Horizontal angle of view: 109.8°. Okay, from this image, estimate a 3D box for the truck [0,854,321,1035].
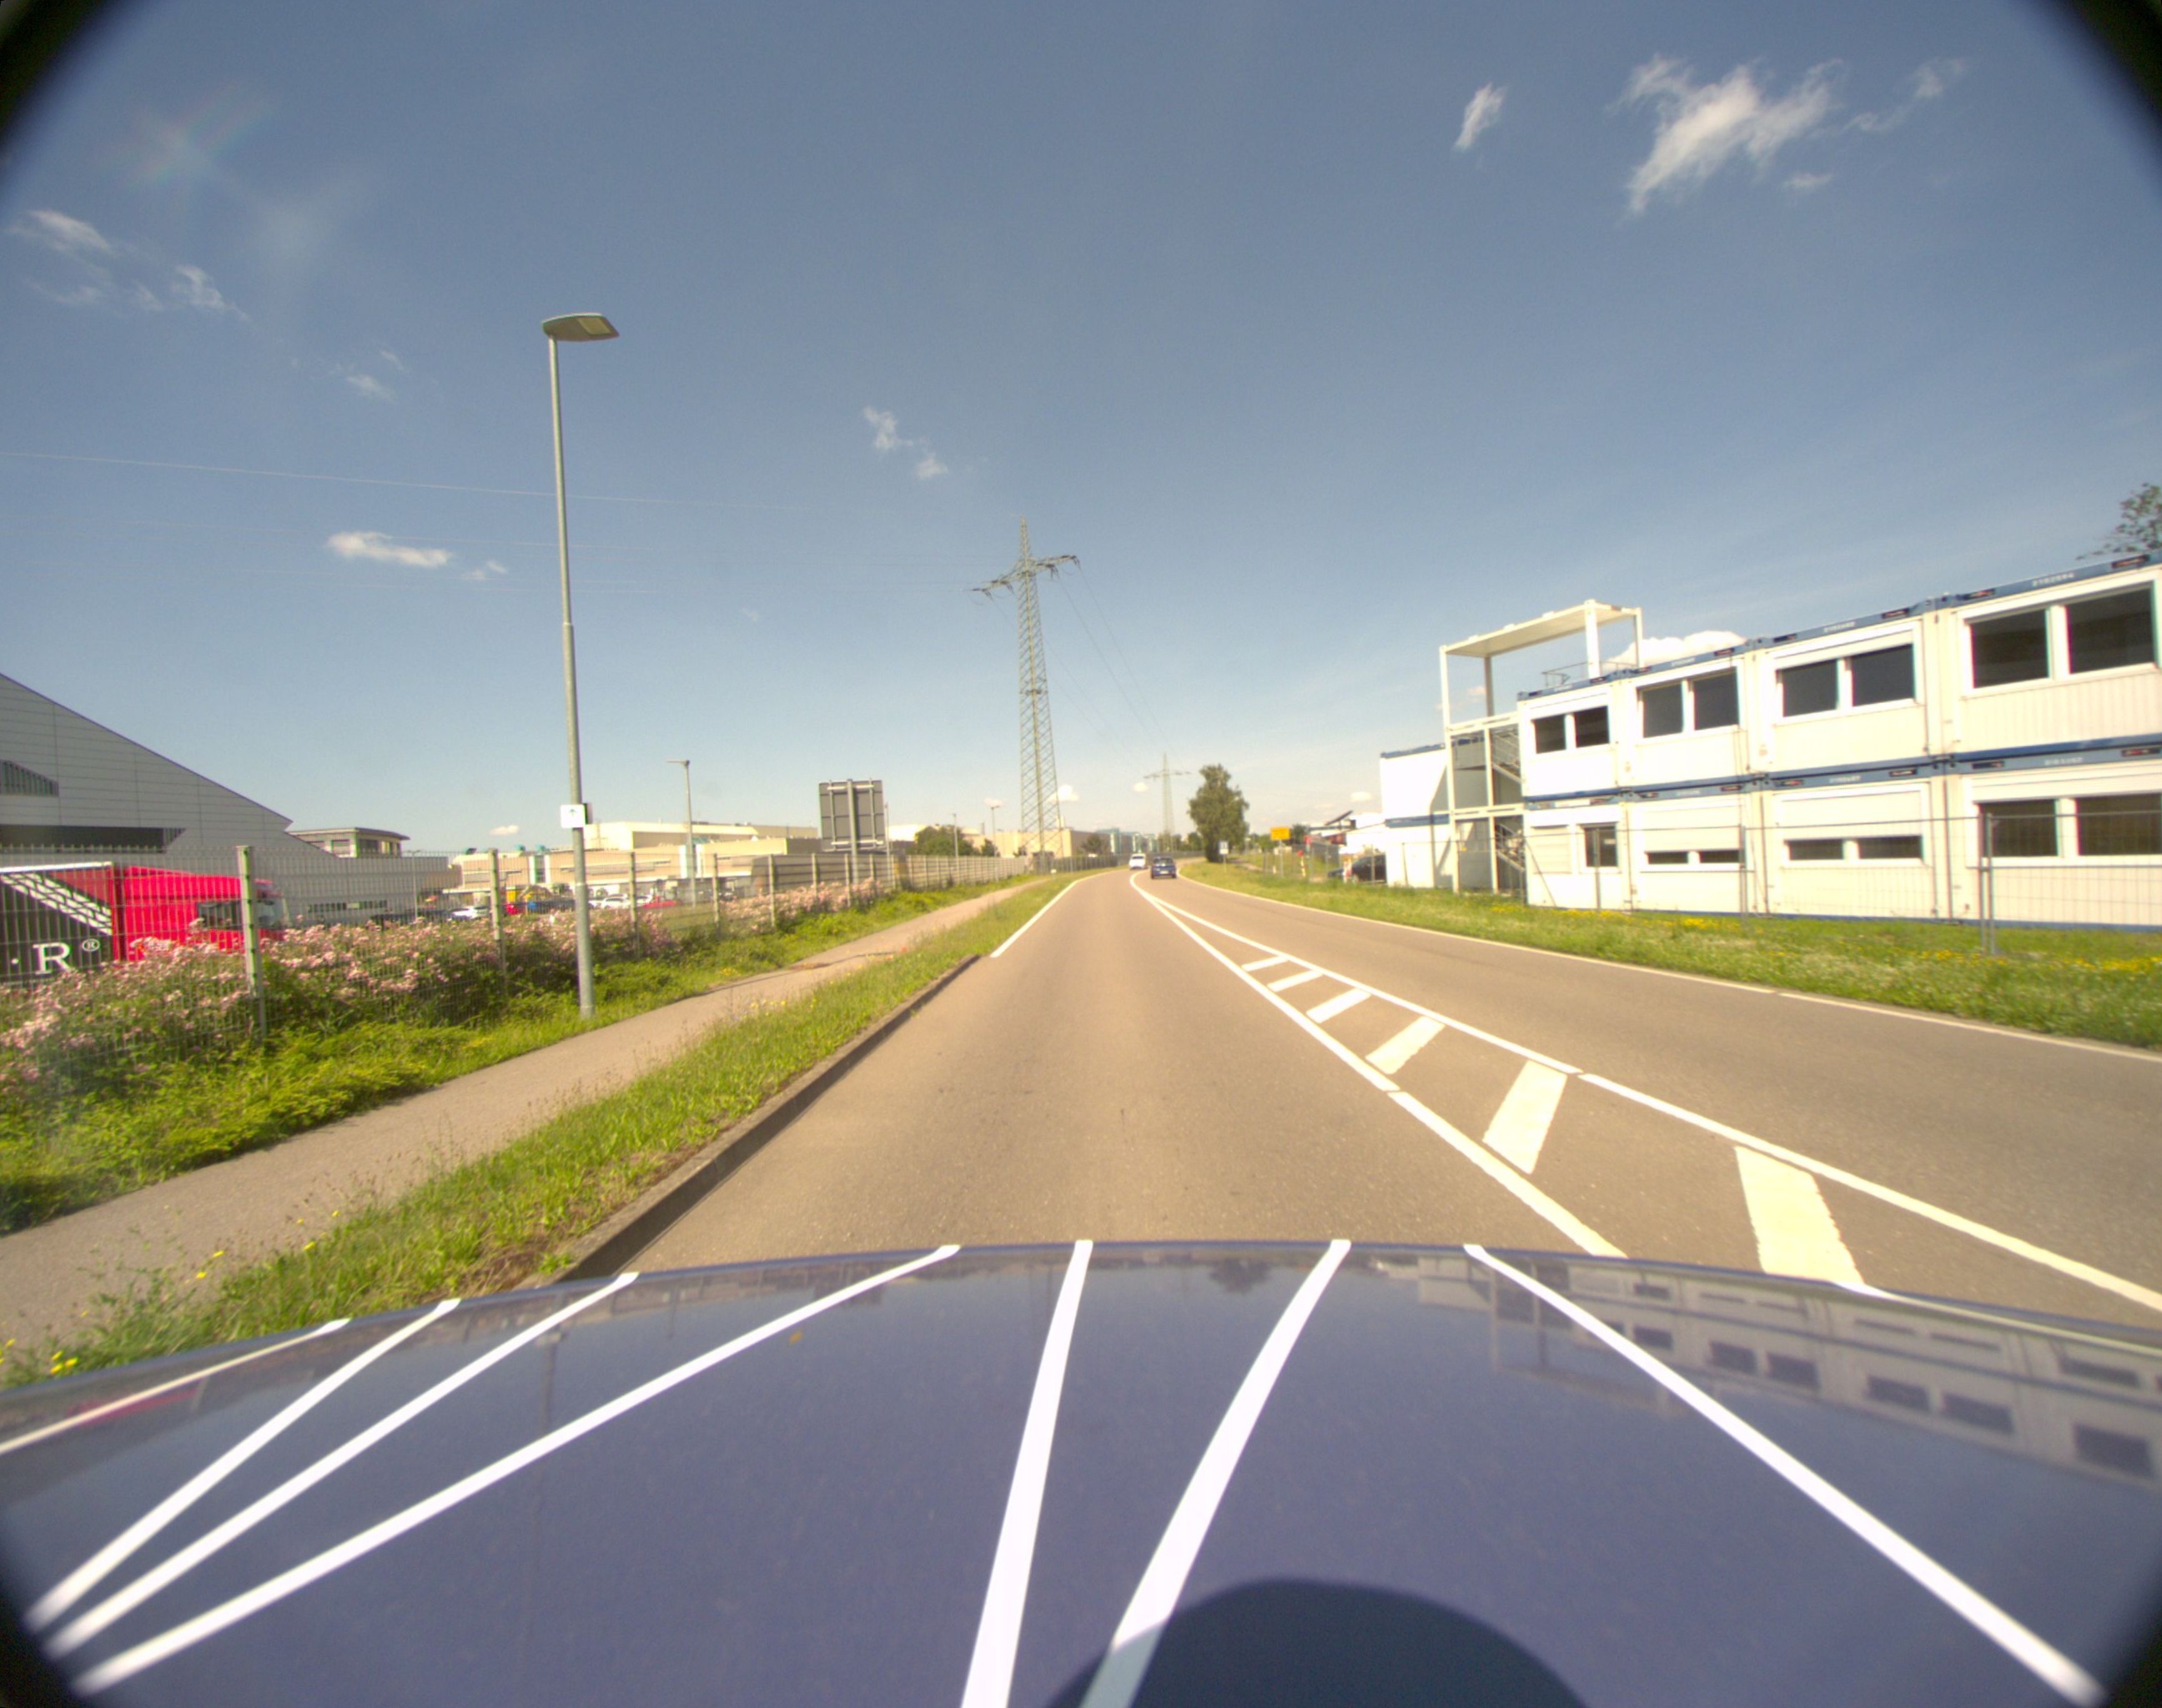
[{"bbox_3d":[-27.686,2.334,19.510,10.990,4.232,3.021,-3,1,-31],"label":"truck"}]

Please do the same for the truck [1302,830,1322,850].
[{"bbox_3d":[44.302,-2.762,145.938,3.106,3.624,10.603,-2,1,14],"label":"truck"}]

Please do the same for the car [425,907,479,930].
[{"bbox_3d":[-49.063,5.010,59.310,3.053,1.525,1.472,-4,0,7],"label":"car"}]

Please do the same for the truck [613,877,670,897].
[{"bbox_3d":[-86.253,6.406,149.598,1.997,3.119,11.862,-4,0,13],"label":"truck"}]

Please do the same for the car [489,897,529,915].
[{"bbox_3d":[-58.401,5.322,77.624,3.053,1.525,1.472,-4,0,7],"label":"car"}]

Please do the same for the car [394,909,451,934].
[{"bbox_3d":[-49.220,5.046,56.829,3.053,1.525,1.472,-4,0,7],"label":"car"}]

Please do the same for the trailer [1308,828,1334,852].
[{"bbox_3d":[38.523,-2.276,122.094,3.404,3.624,8.666,-2,1,14],"label":"trailer"}]

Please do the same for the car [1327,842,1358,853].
[{"bbox_3d":[36.894,-0.937,107.230,3.993,1.335,1.749,-3,0,14],"label":"car"}]

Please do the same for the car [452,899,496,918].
[{"bbox_3d":[-57.968,5.194,72.563,3.053,1.525,1.472,-4,0,7],"label":"car"}]

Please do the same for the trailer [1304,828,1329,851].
[{"bbox_3d":[41.312,-2.510,133.541,3.295,3.624,14.938,-2,1,14],"label":"trailer"}]

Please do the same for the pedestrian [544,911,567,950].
[{"bbox_3d":[-23.133,3.356,33.465,0.484,1.643,0.574,-4,1,6],"label":"pedestrian"}]

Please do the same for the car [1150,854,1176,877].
[{"bbox_3d":[5.689,0.768,52.583,1.706,1.473,4.001,-2,1,7],"label":"car"}]

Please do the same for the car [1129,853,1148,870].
[{"bbox_3d":[6.743,0.842,88.800,1.835,1.796,4.833,-2,0,9],"label":"car"}]

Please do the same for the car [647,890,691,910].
[{"bbox_3d":[-37.664,4.207,69.480,3.148,1.525,1.456,-4,0,7],"label":"car"}]

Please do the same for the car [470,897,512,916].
[{"bbox_3d":[-58.276,5.192,75.107,3.053,1.525,1.472,-4,0,7],"label":"car"}]

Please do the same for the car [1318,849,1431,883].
[{"bbox_3d":[14.916,0.592,38.793,4.984,1.408,1.999,-3,0,-8],"label":"car"}]
